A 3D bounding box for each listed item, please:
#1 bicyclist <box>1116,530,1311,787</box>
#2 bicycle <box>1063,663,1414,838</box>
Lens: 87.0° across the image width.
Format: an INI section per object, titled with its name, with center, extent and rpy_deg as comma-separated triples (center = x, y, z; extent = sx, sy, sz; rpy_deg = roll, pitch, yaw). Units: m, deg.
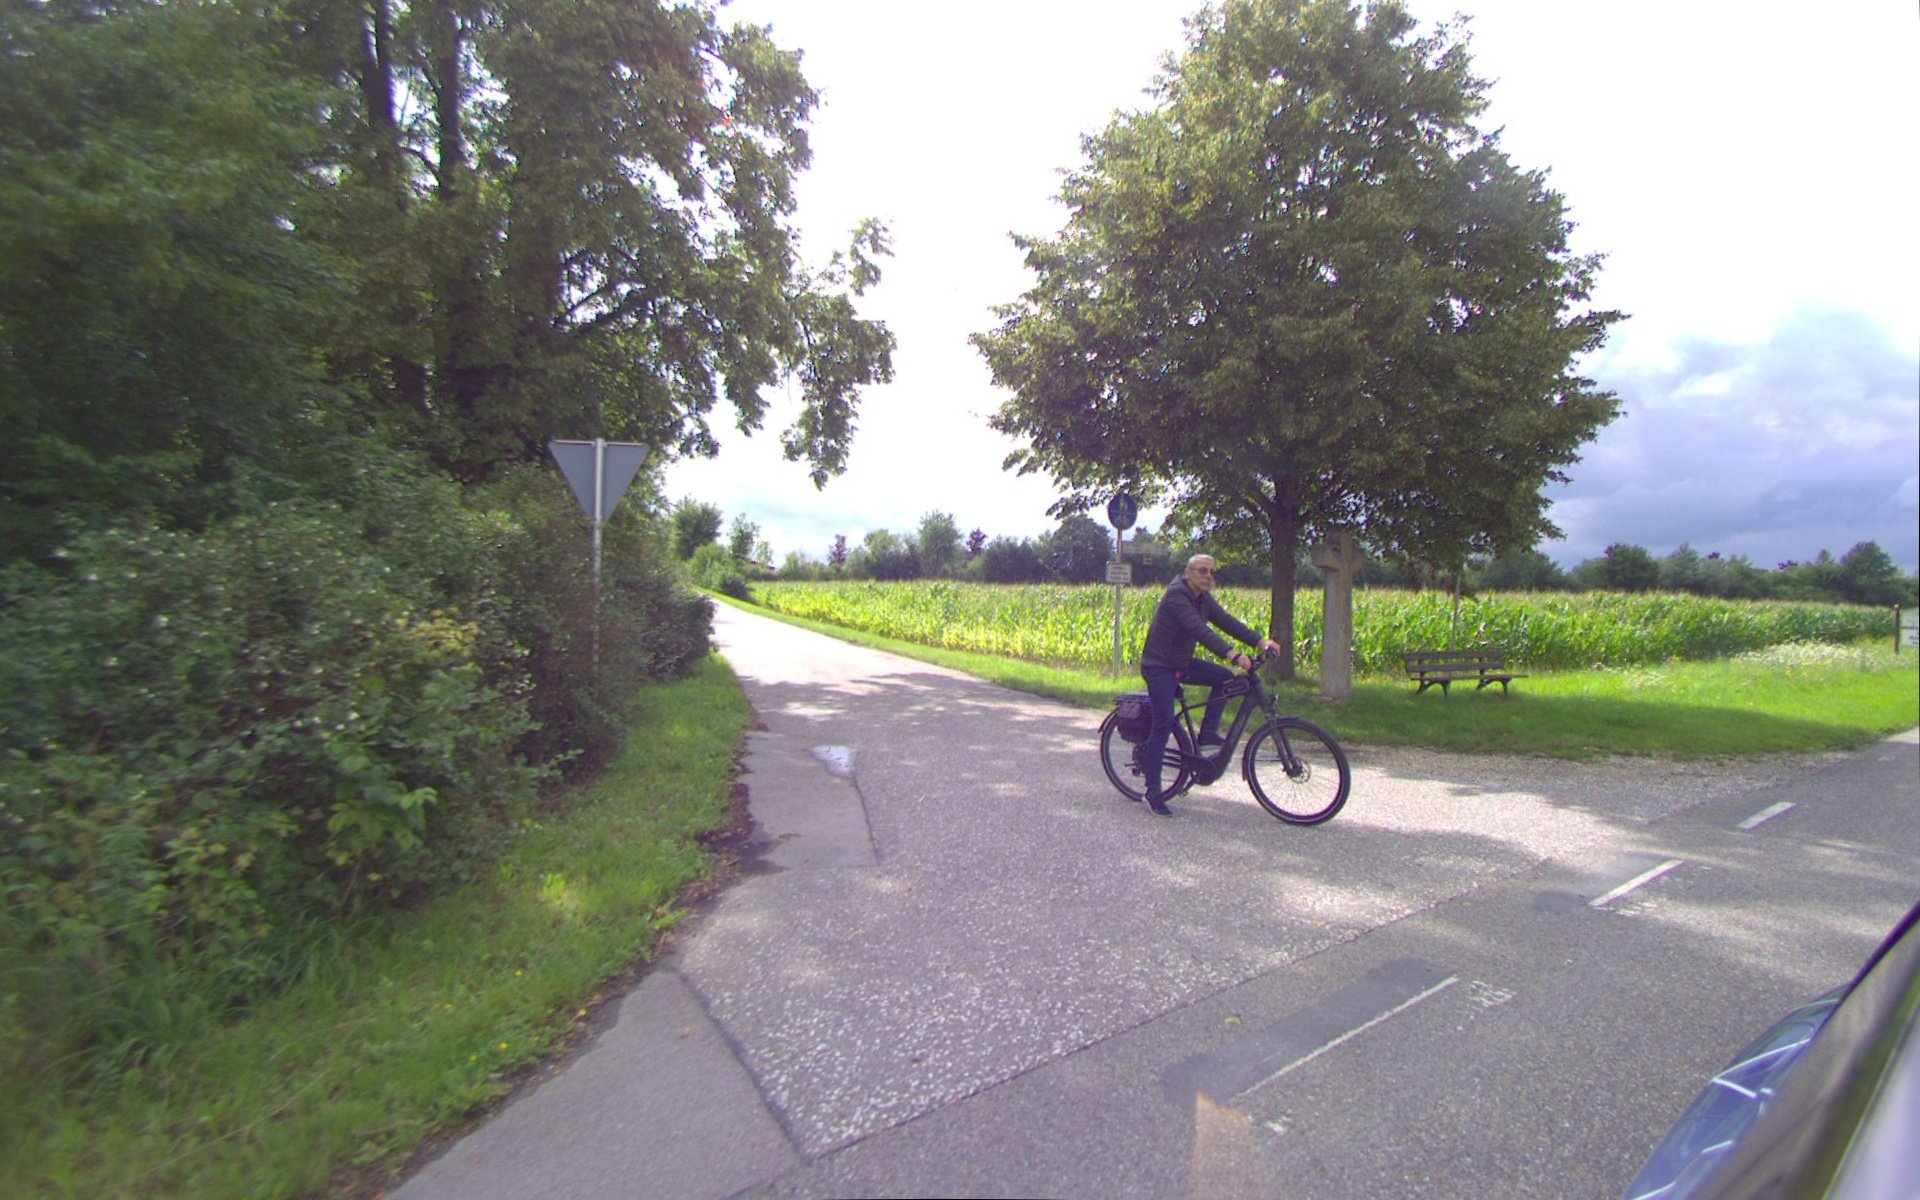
[bicyclist]
center = 1.777, 0.371, 7.044
extent = 1.014, 1.605, 1.040
rpy_deg = 0, -1, 36
[bicycle]
center = 1.880, 0.946, 6.967
extent = 2.110, 0.875, 1.040
rpy_deg = 1, 0, 36
